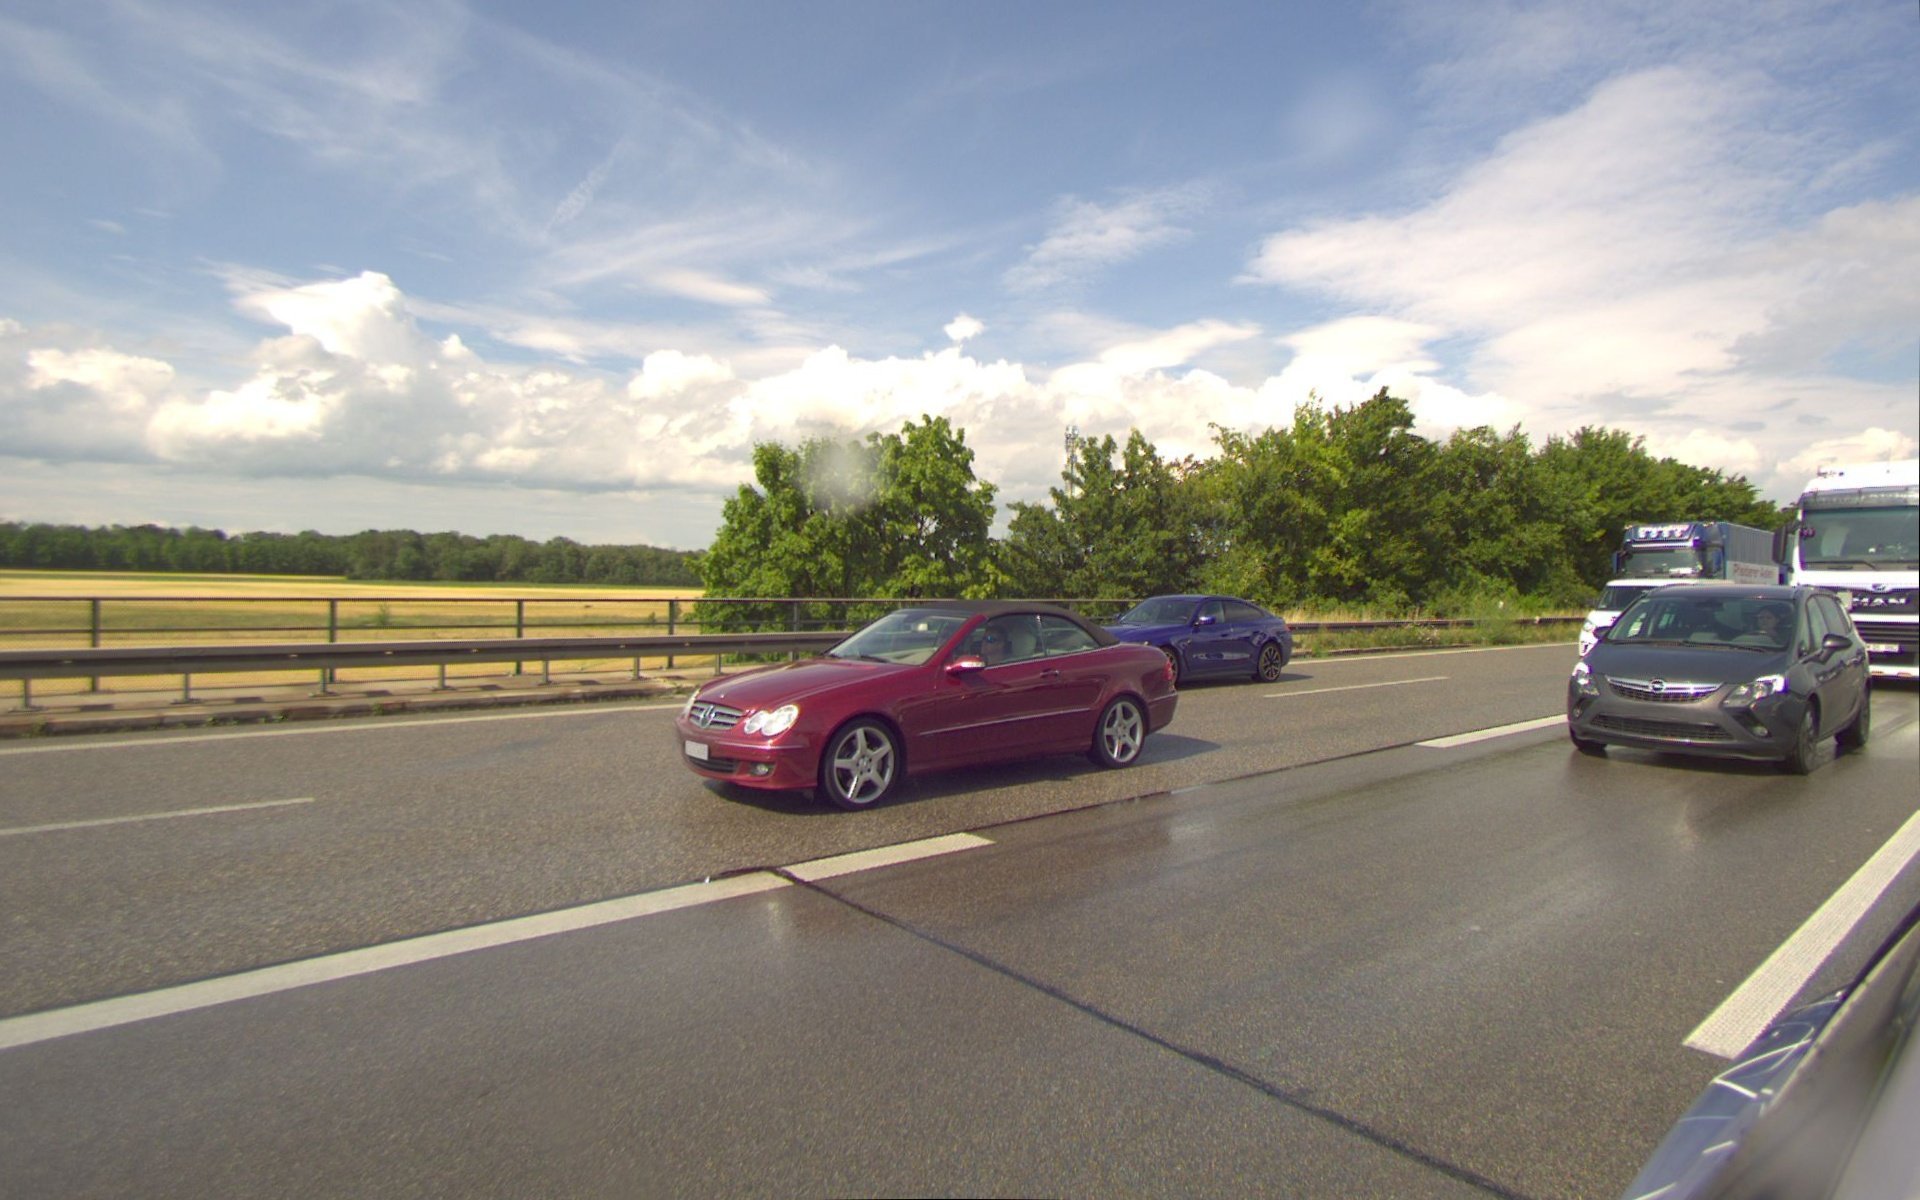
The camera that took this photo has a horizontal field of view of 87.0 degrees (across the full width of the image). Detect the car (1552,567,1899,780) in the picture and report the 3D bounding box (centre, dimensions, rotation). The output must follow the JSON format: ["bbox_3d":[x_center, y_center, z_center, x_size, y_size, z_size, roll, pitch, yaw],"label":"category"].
[{"bbox_3d":[7.726,0.555,10.056,4.319,1.668,1.882,0,1,-41],"label":"car"}]

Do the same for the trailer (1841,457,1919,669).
[{"bbox_3d":[23.319,-0.762,23.223,11.331,4.158,2.789,0,0,-39],"label":"trailer"}]

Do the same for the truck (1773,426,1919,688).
[{"bbox_3d":[17.771,-0.713,18.712,7.311,4.158,2.816,0,0,-39],"label":"truck"}]

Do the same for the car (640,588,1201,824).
[{"bbox_3d":[-0.115,0.635,8.241,4.431,1.428,1.755,0,0,-40],"label":"car"}]

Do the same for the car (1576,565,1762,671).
[{"bbox_3d":[14.558,0.294,20.659,5.077,1.909,1.953,0,1,-41],"label":"car"}]

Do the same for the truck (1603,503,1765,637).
[{"bbox_3d":[23.982,-0.955,33.453,5.765,4.003,3.110,-1,1,-41],"label":"truck"}]

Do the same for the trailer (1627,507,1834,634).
[{"bbox_3d":[29.749,-1.052,38.516,16.057,4.003,3.110,-1,1,-41],"label":"trailer"}]

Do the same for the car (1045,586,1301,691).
[{"bbox_3d":[3.575,0.528,16.512,4.427,1.481,1.790,0,0,-41],"label":"car"}]
